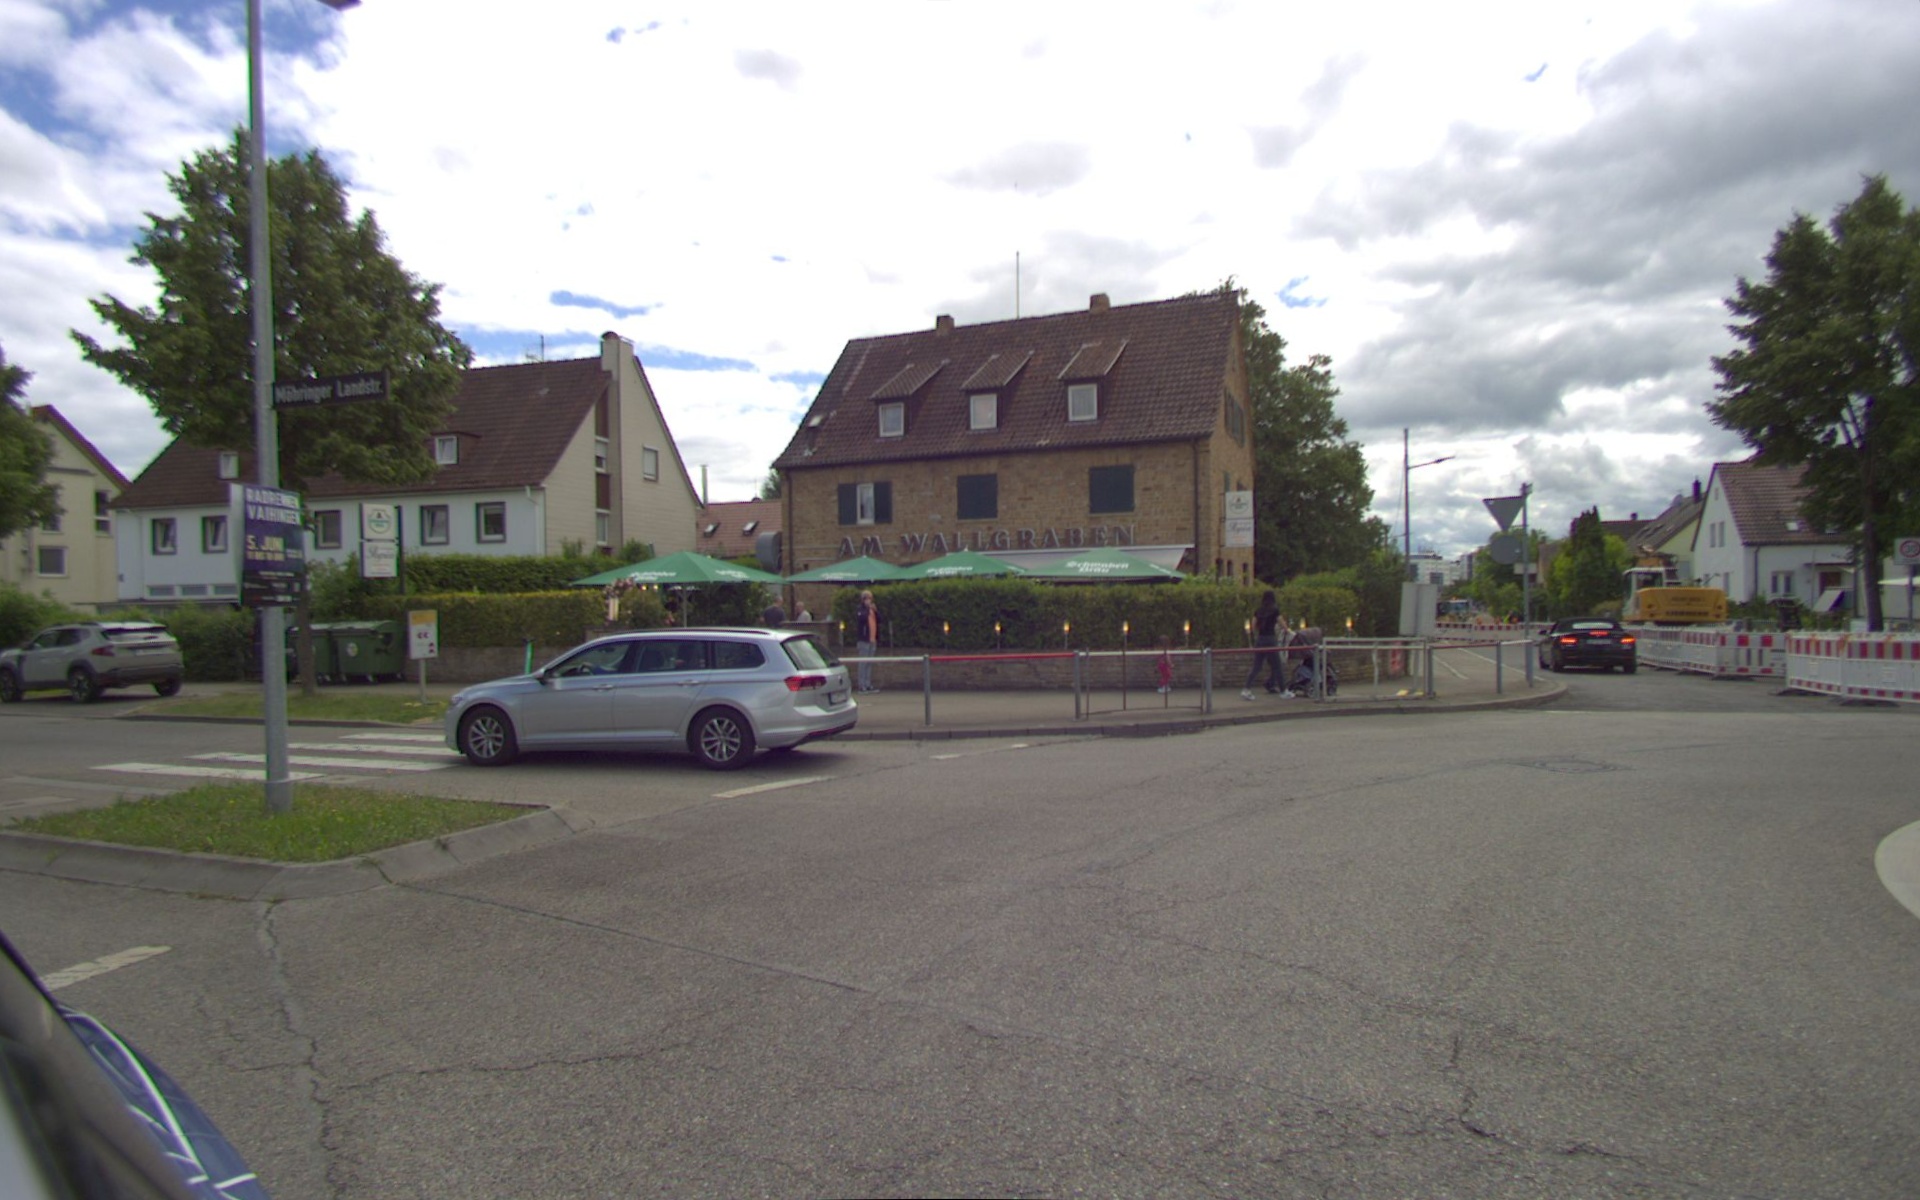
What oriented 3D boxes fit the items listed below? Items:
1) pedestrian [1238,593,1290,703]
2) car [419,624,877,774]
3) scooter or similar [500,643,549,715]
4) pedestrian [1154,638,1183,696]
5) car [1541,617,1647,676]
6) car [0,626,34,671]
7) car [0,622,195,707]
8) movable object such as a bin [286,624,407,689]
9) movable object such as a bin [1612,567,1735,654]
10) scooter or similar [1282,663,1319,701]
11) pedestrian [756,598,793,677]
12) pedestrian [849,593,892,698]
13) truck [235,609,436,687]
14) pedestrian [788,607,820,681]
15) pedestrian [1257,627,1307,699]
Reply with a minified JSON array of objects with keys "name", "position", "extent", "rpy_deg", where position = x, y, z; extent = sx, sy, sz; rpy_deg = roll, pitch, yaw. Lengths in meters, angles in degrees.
[{"name":"pedestrian","position":[4.686,0.732,15.629],"extent":[0.603,1.646,0.452],"rpy_deg":[-2,-1,0]},{"name":"car","position":[-3.421,1.060,11.344],"extent":[4.644,1.465,1.800],"rpy_deg":[-2,-2,13]},{"name":"scooter or similar","position":[-7.427,1.331,17.286],"extent":[0.376,1.140,1.048],"rpy_deg":[-1,-1,1]},{"name":"pedestrian","position":[3.456,1.101,16.794],"extent":[0.423,0.919,0.340],"rpy_deg":[-2,1,8]},{"name":"car","position":[16.085,1.149,25.841],"extent":[1.689,1.343,3.586],"rpy_deg":[-2,-1,23]},{"name":"car","position":[-35.166,1.759,35.218],"extent":[1.737,1.551,4.025],"rpy_deg":[-2,0,17]},{"name":"car","position":[-18.602,1.347,21.626],"extent":[4.018,1.648,1.740],"rpy_deg":[-2,-1,21]},{"name":"movable object such as a bin","position":[-14.354,1.315,23.669],"extent":[2.703,1.427,0.978],"rpy_deg":[-2,-1,21]},{"name":"movable object such as a bin","position":[25.501,0.392,36.362],"extent":[2.660,2.938,3.675],"rpy_deg":[-1,-1,21]},{"name":"scooter or similar","position":[5.350,1.280,15.920],"extent":[0.430,0.566,0.356],"rpy_deg":[-3,-1,41]},{"name":"pedestrian","position":[-4.382,0.879,23.916],"extent":[0.566,1.841,0.629],"rpy_deg":[-2,-1,39]},{"name":"pedestrian","position":[-1.599,0.798,18.110],"extent":[0.561,1.840,0.635],"rpy_deg":[-2,0,11]},{"name":"truck","position":[-16.580,1.208,27.158],"extent":[1.850,1.864,4.475],"rpy_deg":[-2,0,17]},{"name":"pedestrian","position":[-3.753,1.052,24.414],"extent":[0.566,1.740,0.483],"rpy_deg":[-2,-1,39]},{"name":"pedestrian","position":[5.129,0.996,16.131],"extent":[0.589,1.108,0.446],"rpy_deg":[-3,-1,41]}]
